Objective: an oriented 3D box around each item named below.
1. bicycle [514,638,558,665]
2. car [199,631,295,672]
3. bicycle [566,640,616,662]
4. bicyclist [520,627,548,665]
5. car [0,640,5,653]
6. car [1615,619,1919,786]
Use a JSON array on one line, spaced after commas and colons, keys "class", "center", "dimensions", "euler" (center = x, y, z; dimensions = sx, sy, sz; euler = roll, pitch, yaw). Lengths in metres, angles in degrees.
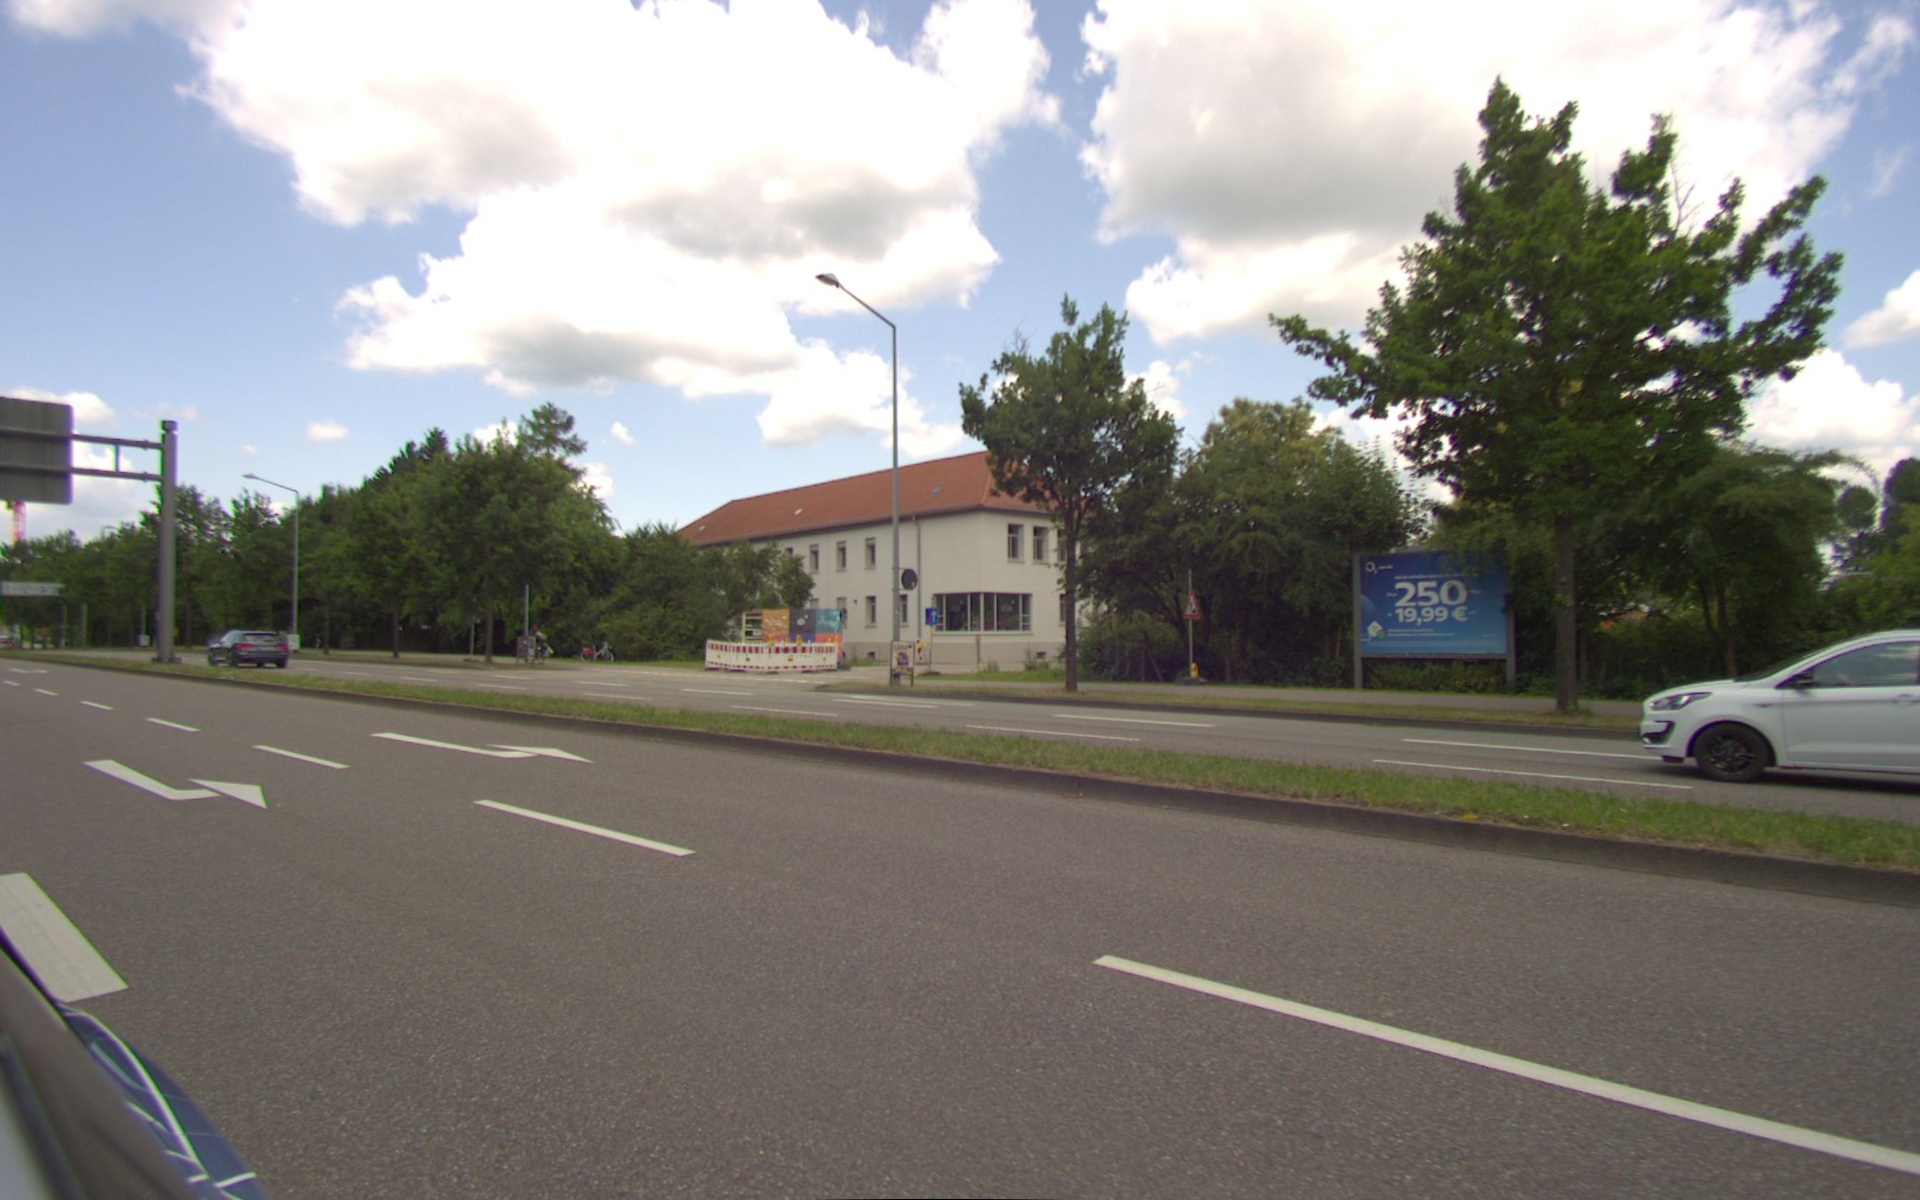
[{"class": "bicycle", "center": [-18.842, 2.289, 44.941], "dimensions": [2.254, 1.170, 0.743], "euler": [-2, -3, 37]}, {"class": "car", "center": [-27.879, 1.979, 39.523], "dimensions": [4.906, 1.528, 1.939], "euler": [-2, -3, 41]}, {"class": "bicycle", "center": [-17.559, 2.444, 48.222], "dimensions": [2.117, 1.023, 0.665], "euler": [1, -2, -4]}, {"class": "bicyclist", "center": [-18.969, 2.041, 45.051], "dimensions": [0.979, 1.671, 0.731], "euler": [-2, -3, 36]}, {"class": "car", "center": [-116.633, 5.576, 122.170], "dimensions": [3.696, 1.508, 1.691], "euler": [-2, -3, 42]}, {"class": "car", "center": [8.968, 0.948, 9.607], "dimensions": [4.411, 1.454, 1.895], "euler": [-2, -4, 40]}]
